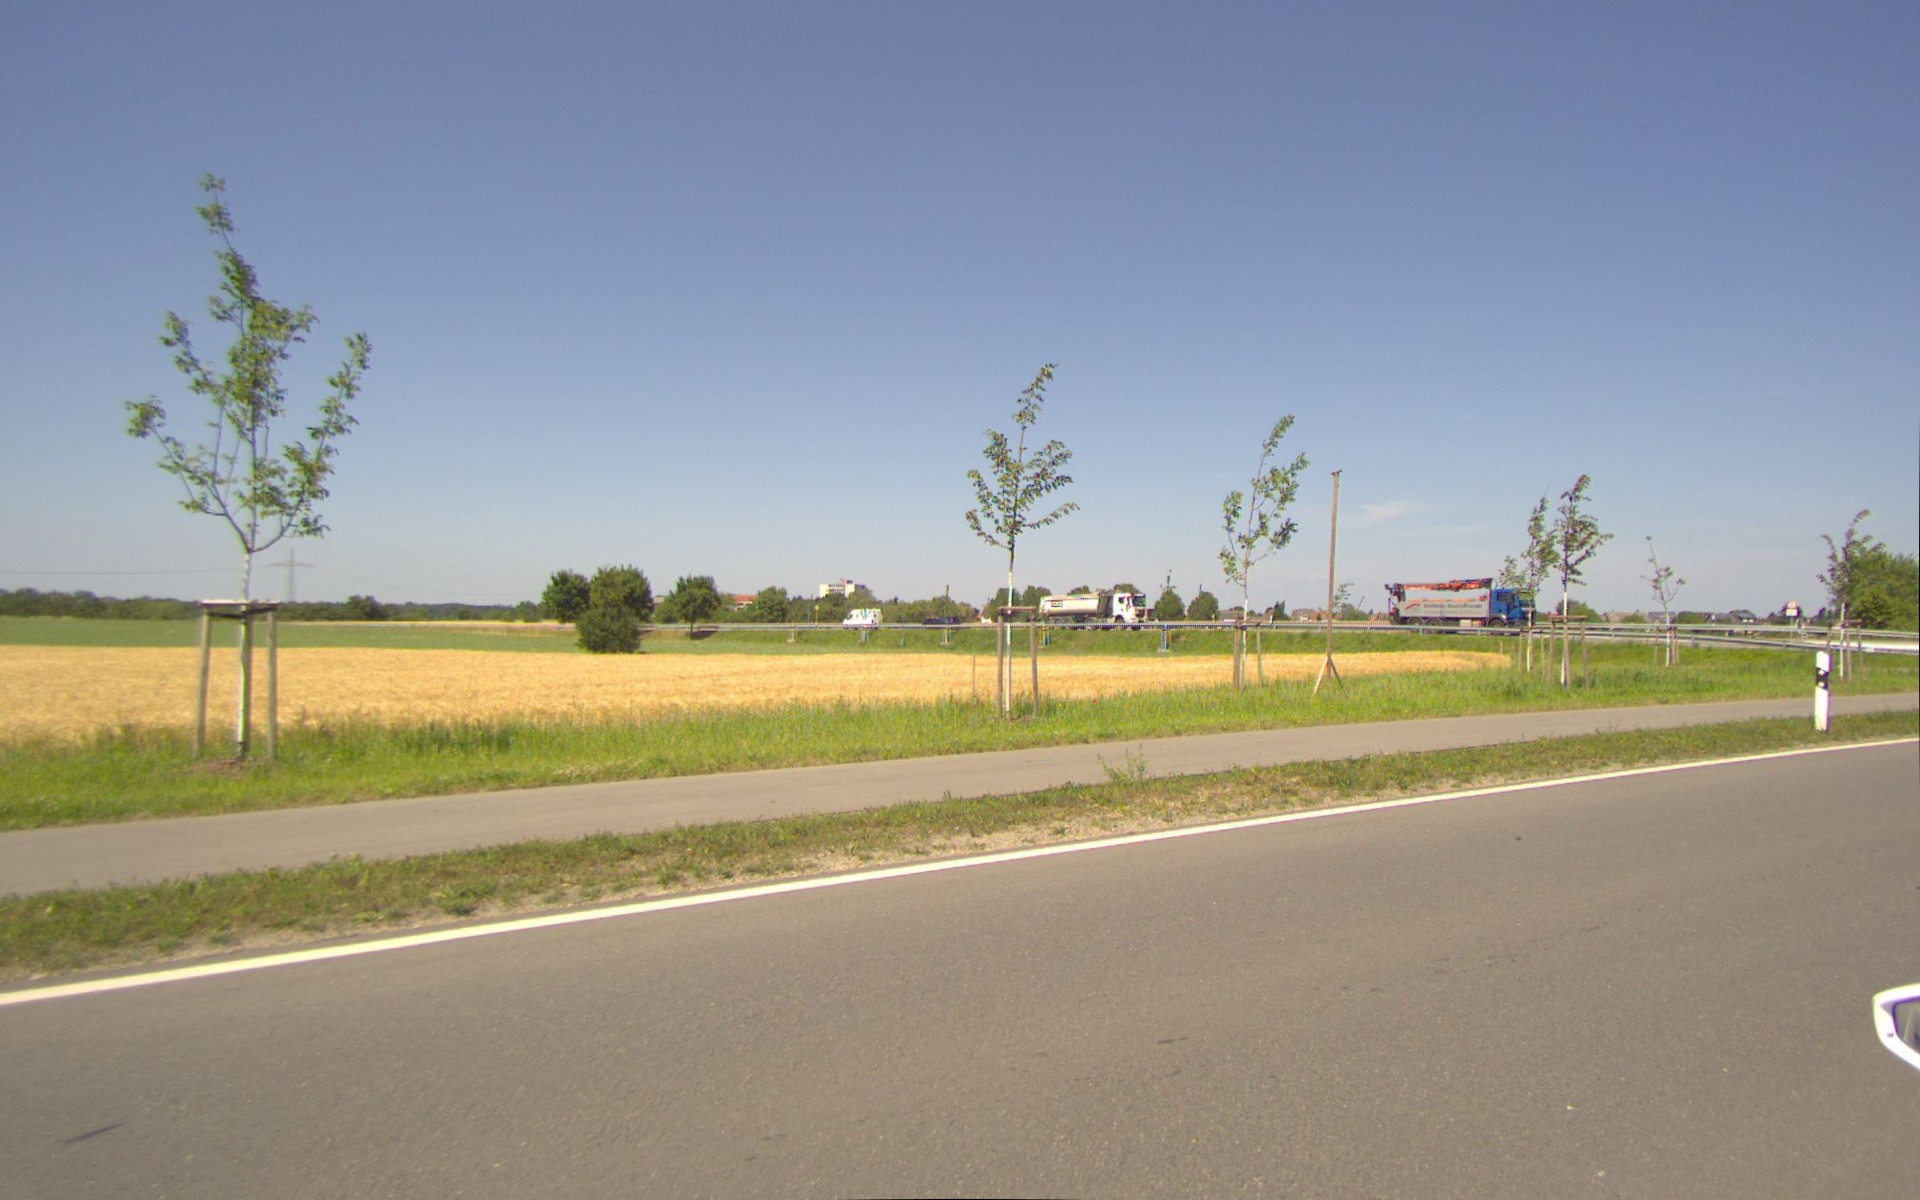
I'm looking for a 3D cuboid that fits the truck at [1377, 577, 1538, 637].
[{"bbox_3d":[34.035,0.463,69.241,2.598,3.844,10.020,1,0,-33],"label":"truck"}]

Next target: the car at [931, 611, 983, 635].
[{"bbox_3d":[-0.322,2.475,110.761,2.535,2.454,5.866,1,0,-41],"label":"car"}]

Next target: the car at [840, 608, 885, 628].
[{"bbox_3d":[-12.479,2.295,128.070,5.844,2.454,2.238,1,0,38],"label":"car"}]

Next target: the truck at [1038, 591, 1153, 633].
[{"bbox_3d":[12.458,1.056,93.707,2.957,3.663,11.893,1,0,-39],"label":"truck"}]
